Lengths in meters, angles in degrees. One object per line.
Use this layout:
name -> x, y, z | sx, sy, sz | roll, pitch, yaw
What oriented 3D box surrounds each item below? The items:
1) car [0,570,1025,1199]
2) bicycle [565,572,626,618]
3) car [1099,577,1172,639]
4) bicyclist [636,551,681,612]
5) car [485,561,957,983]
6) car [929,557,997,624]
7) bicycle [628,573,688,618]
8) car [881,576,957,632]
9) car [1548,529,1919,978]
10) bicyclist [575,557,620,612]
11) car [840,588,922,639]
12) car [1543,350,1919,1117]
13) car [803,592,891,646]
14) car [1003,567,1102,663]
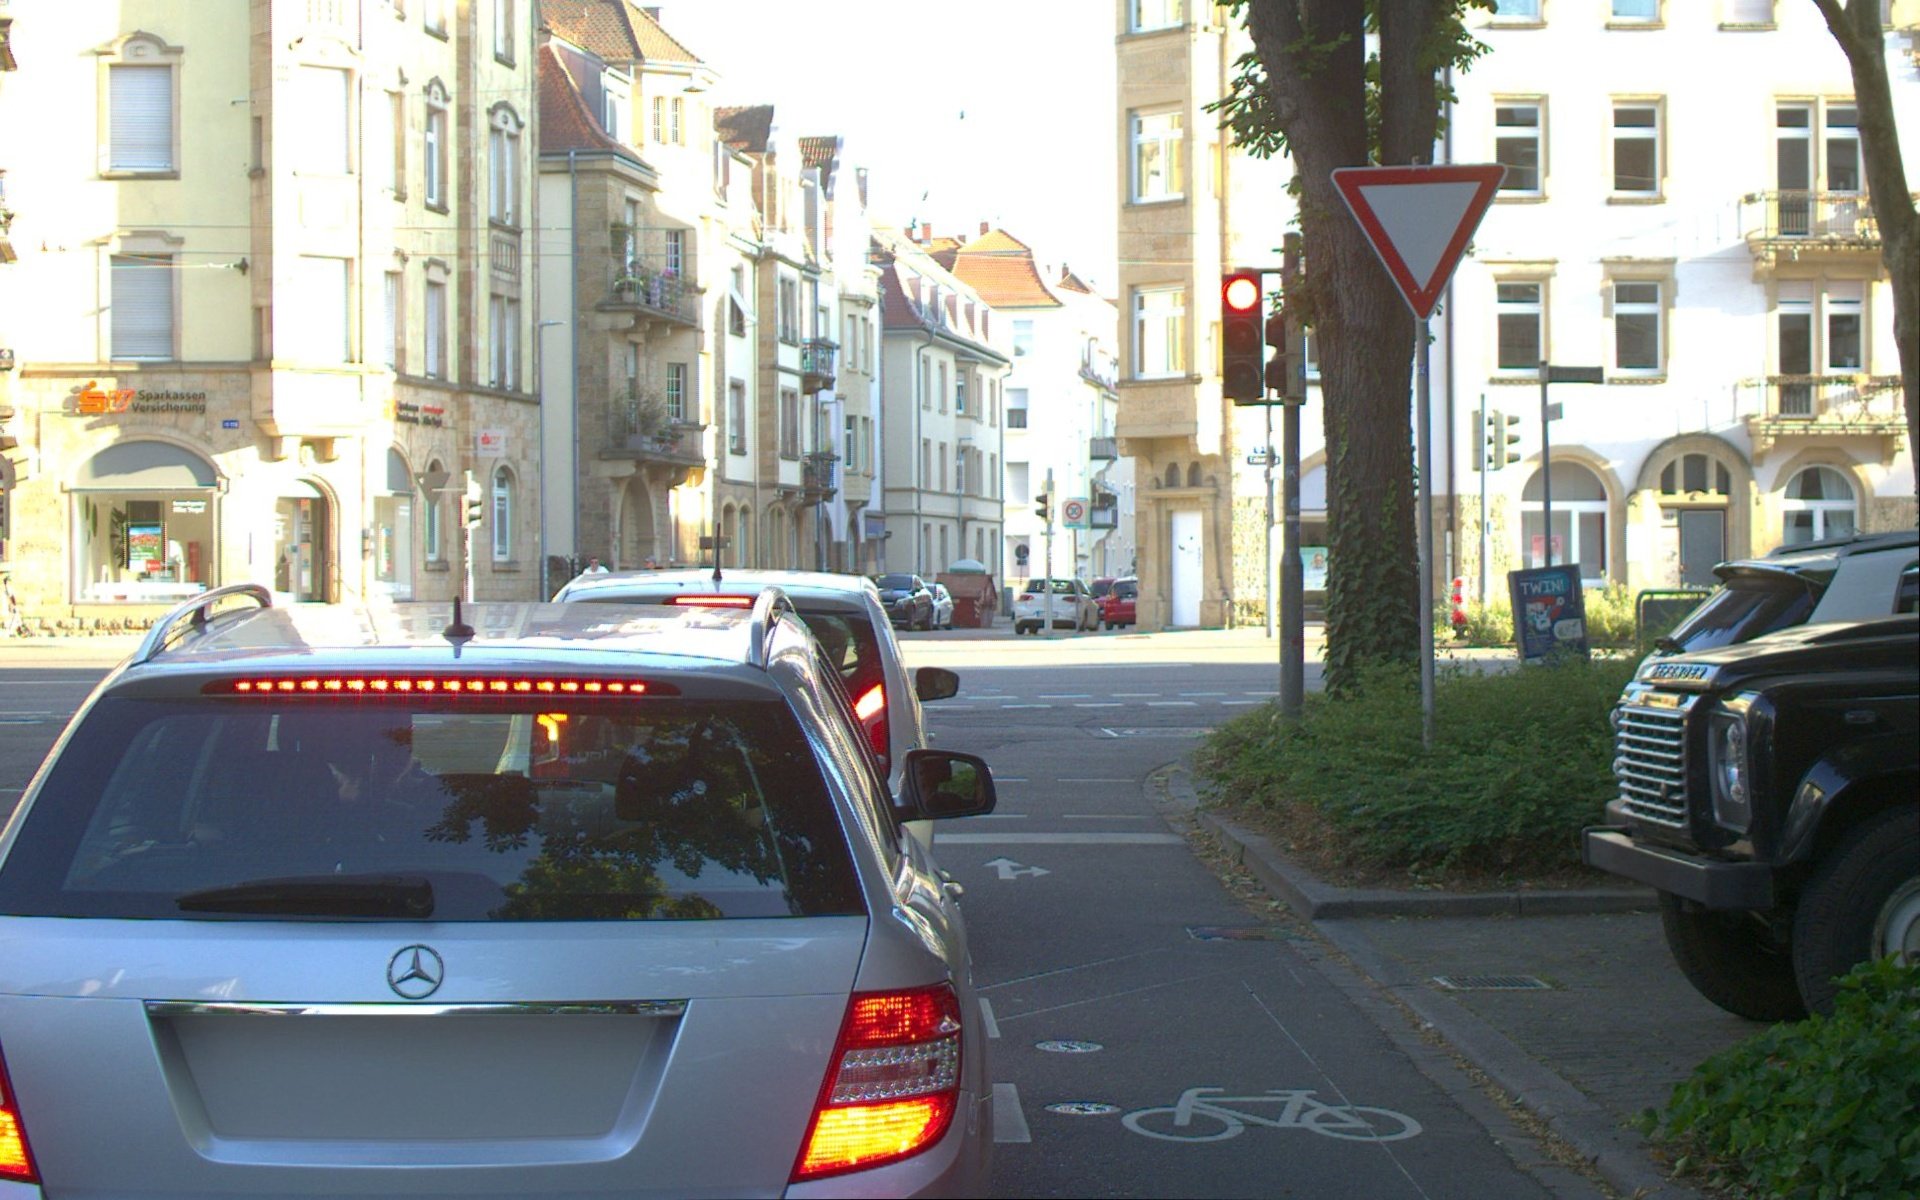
car -> -0.892, 0.681, 6.960 | 1.777, 1.447, 4.548 | 0, 1, -2
bicycle -> -7.768, -0.109, 73.384 | 0.771, 0.936, 1.939 | 1, 1, 11
car -> 5.217, 0.219, 101.931 | 1.835, 1.738, 3.999 | 0, 1, 8
bicyclist -> -6.443, -0.393, 73.469 | 0.771, 1.285, 0.752 | 1, 1, 11
car -> -0.910, 0.571, 14.050 | 1.619, 1.442, 4.345 | 0, 1, -2
car -> 0.128, -0.350, 117.349 | 1.787, 2.196, 3.999 | 0, 1, 8
bicycle -> -6.445, -0.100, 73.472 | 0.771, 0.931, 1.939 | 1, 1, 11
car -> -1.281, 0.121, 108.760 | 1.835, 1.657, 3.999 | 0, 1, 8
car -> 4.295, 0.500, 13.090 | 3.723, 1.564, 1.709 | -1, 0, -4
bicyclist -> -7.750, -0.331, 73.459 | 0.771, 1.152, 0.752 | 1, 1, 11
car -> -2.326, 0.398, 102.531 | 1.835, 1.397, 3.999 | 0, 1, 8
car -> 4.140, 0.300, 10.121 | 4.465, 2.029, 1.701 | -1, 0, -3
car -> -3.160, 0.526, 97.040 | 1.835, 1.397, 3.999 | 0, 1, 8
car -> 2.341, 0.354, 85.899 | 2.031, 2.272, 3.999 | 0, 1, 8
